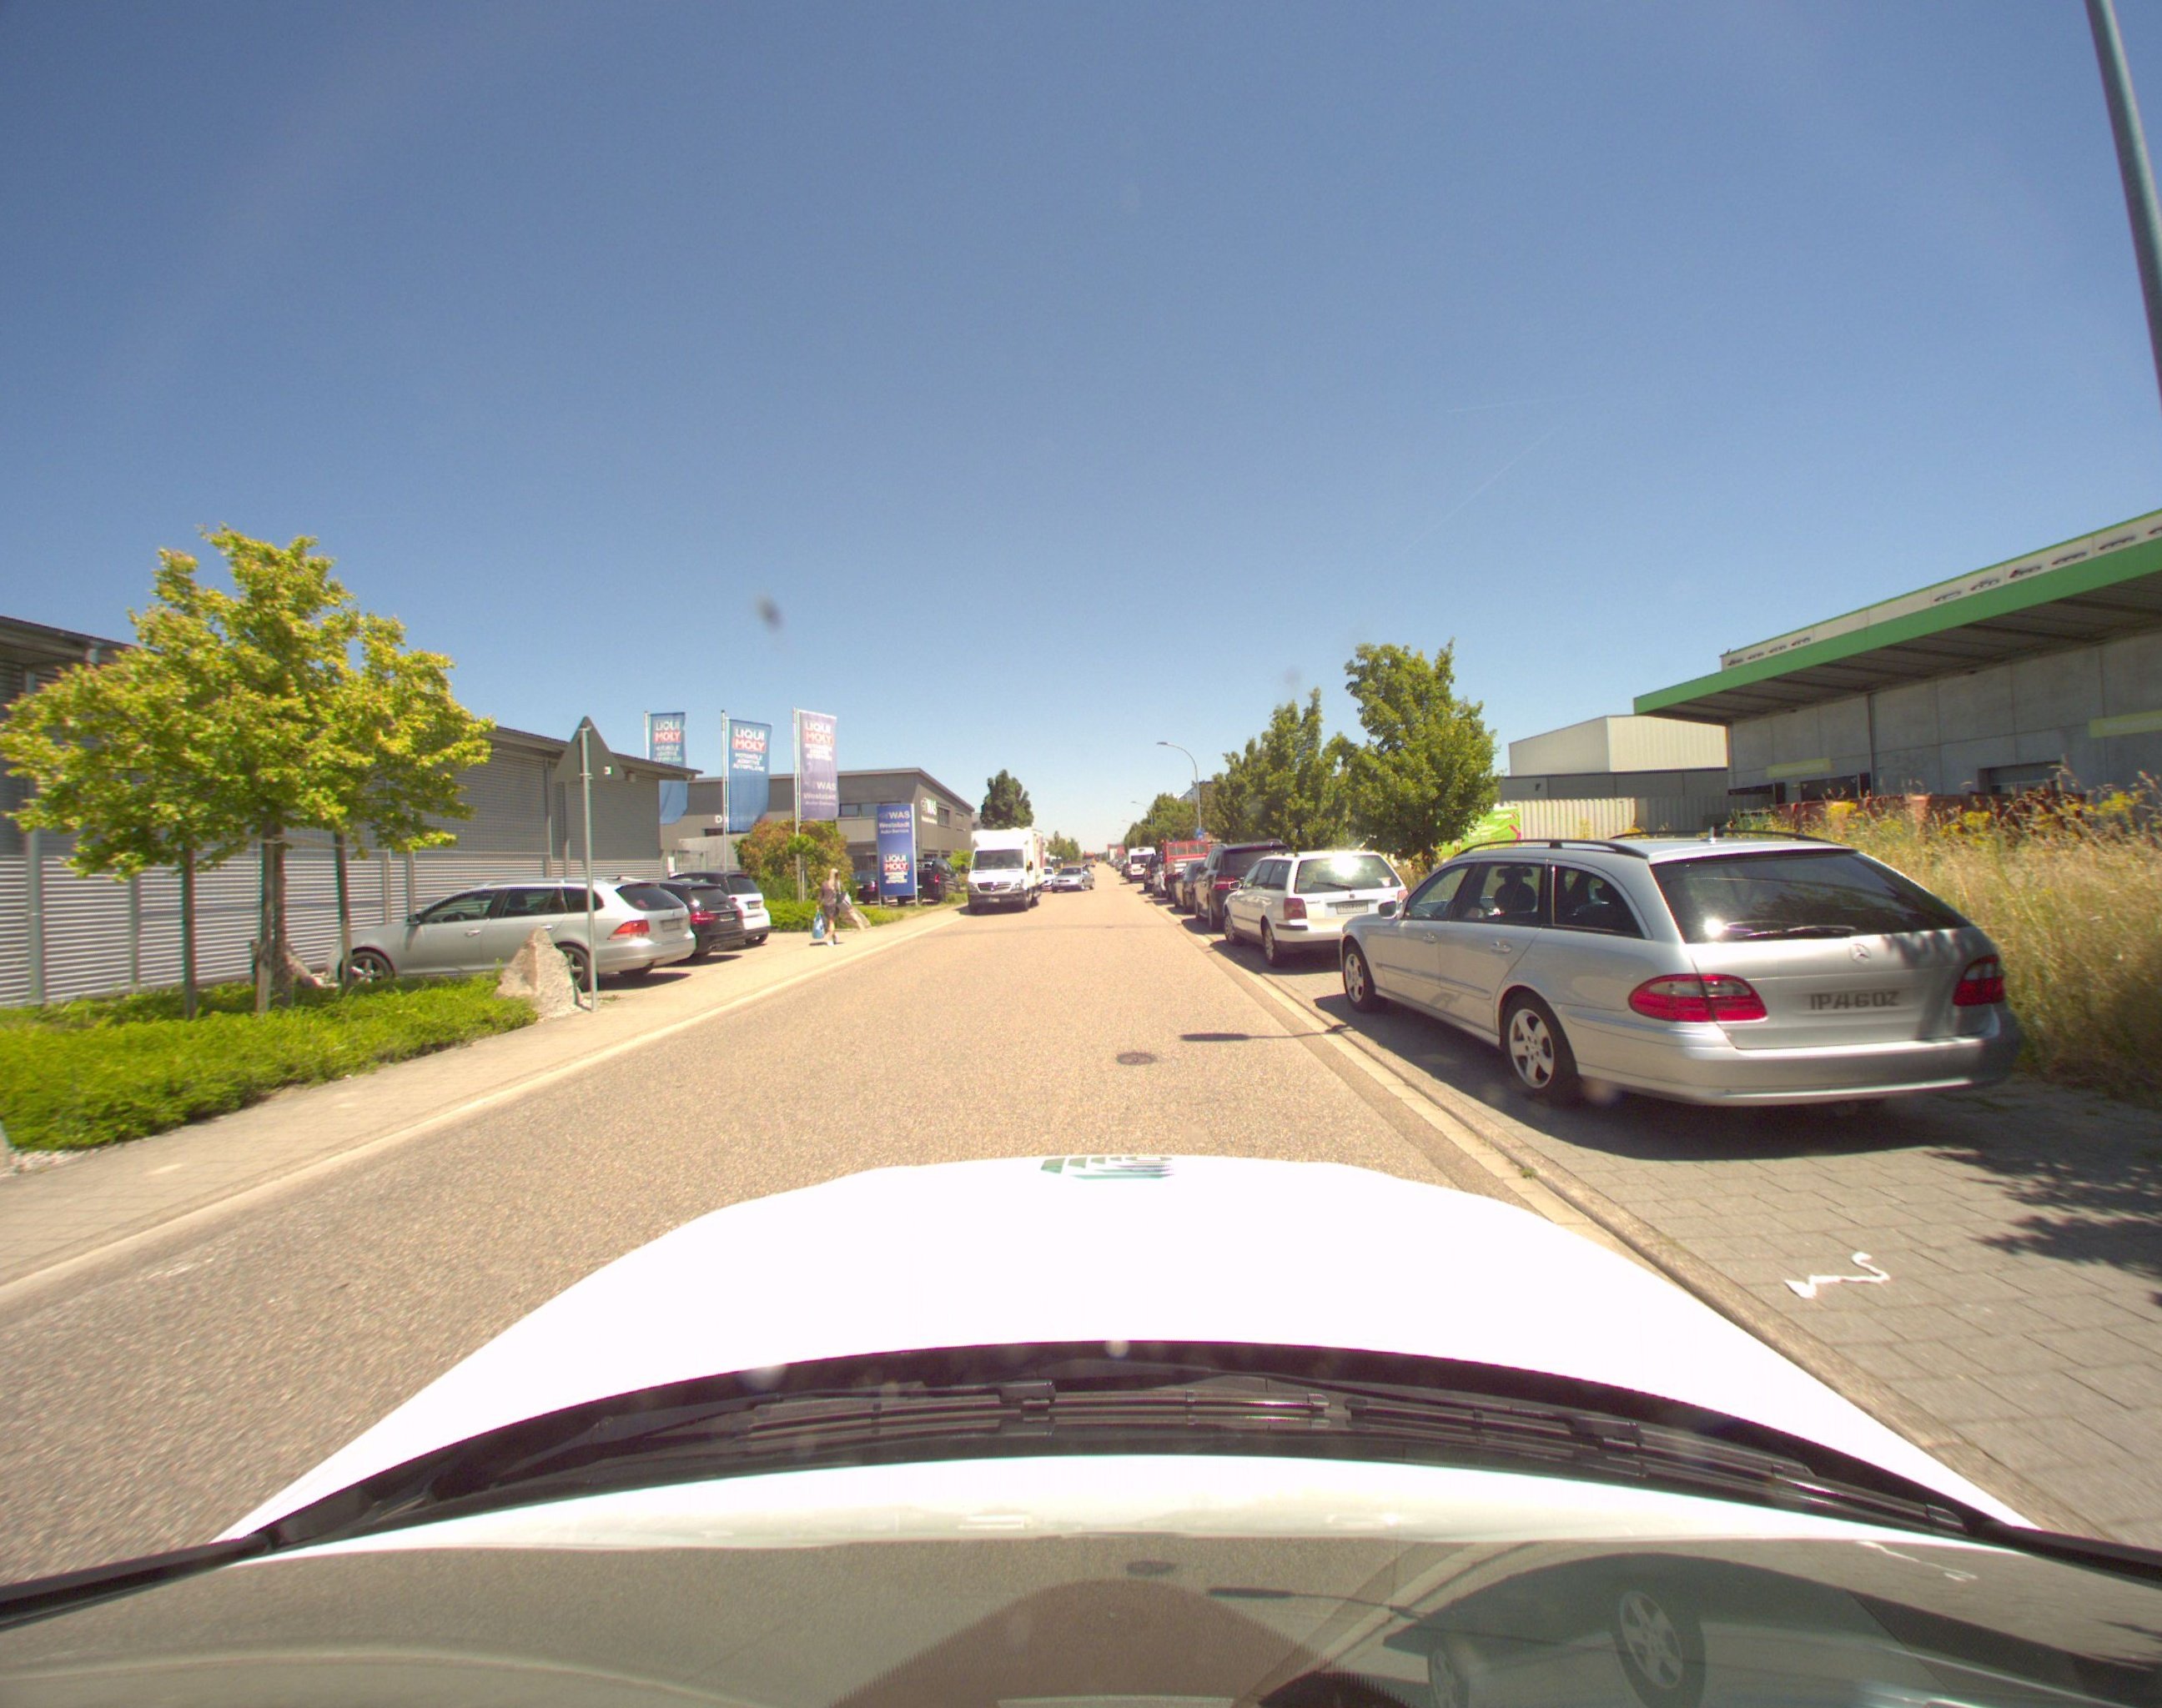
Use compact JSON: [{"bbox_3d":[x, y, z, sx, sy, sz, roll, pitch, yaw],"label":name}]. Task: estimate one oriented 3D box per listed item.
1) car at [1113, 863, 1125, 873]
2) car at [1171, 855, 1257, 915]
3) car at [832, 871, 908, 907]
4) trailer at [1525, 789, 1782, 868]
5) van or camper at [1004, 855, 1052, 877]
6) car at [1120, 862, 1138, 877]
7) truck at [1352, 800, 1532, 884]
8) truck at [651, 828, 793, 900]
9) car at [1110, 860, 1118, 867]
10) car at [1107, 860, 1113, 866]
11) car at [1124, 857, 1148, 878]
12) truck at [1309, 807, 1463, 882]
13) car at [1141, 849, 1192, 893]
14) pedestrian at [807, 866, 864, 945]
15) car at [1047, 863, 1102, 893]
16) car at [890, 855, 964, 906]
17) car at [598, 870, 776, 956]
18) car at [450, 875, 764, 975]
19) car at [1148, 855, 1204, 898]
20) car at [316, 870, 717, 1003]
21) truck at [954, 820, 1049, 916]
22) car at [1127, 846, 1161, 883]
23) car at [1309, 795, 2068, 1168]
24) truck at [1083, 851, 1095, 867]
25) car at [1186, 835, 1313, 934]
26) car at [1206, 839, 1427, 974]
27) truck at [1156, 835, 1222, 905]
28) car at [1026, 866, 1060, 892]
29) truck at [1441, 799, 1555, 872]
[{"bbox_3d":[5.894,2.103,126.824,1.712,1.450,3.647,-3,-1,1],"label":"car"},{"bbox_3d":[3.613,0.817,22.986,1.691,1.383,4.839,-4,-1,2],"label":"car"},{"bbox_3d":[-9.082,1.467,35.443,1.924,1.416,4.770,-1,-1,1],"label":"car"},{"bbox_3d":[32.902,-1.416,47.152,12.572,3.876,2.805,-3,-2,1],"label":"trailer"},{"bbox_3d":[-8.360,1.906,129.111,7.360,3.037,2.790,-3,-1,0],"label":"van or camper"},{"bbox_3d":[5.318,1.681,89.965,1.700,1.504,4.714,-3,-1,6],"label":"car"},{"bbox_3d":[13.955,-0.452,31.763,5.887,2.872,2.305,-3,-1,-2],"label":"truck"},{"bbox_3d":[-19.103,0.595,43.177,7.960,3.557,2.603,-2,-1,30],"label":"truck"},{"bbox_3d":[6.986,2.006,174.027,1.579,1.409,3.501,-3,-1,1],"label":"car"},{"bbox_3d":[8.461,2.635,238.842,1.490,1.409,3.501,-3,-1,1],"label":"car"},{"bbox_3d":[5.215,1.291,77.758,1.986,1.825,4.354,-3,-1,1],"label":"car"},{"bbox_3d":[13.436,-0.378,36.151,5.802,2.913,2.414,-3,-1,0],"label":"truck"},{"bbox_3d":[4.068,0.814,39.601,1.986,1.884,5.157,-4,-1,2],"label":"car"},{"bbox_3d":[-5.035,1.037,16.738,0.895,1.574,0.786,-1,-1,2],"label":"pedestrian"},{"bbox_3d":[-0.311,1.328,46.295,1.769,1.422,4.433,-5,-1,16],"label":"car"},{"bbox_3d":[-6.467,1.087,34.795,1.986,1.956,5.219,-2,-1,1],"label":"car"},{"bbox_3d":[-7.788,1.139,16.257,2.732,1.518,1.535,-2,-1,0],"label":"car"},{"bbox_3d":[-8.013,1.170,14.043,4.292,1.431,1.847,-2,-1,2],"label":"car"},{"bbox_3d":[3.828,0.888,33.369,1.733,1.530,3.999,-4,-1,0],"label":"car"},{"bbox_3d":[-7.678,1.083,11.415,4.248,1.518,1.866,-2,-1,0],"label":"car"},{"bbox_3d":[-2.644,0.504,29.039,2.353,2.860,6.417,-5,-1,2],"label":"truck"},{"bbox_3d":[4.619,0.801,60.634,2.258,2.497,6.157,-3,-1,3],"label":"car"},{"bbox_3d":[3.334,0.563,5.935,1.800,1.483,4.770,-4,0,-2],"label":"car"},{"bbox_3d":[1.886,1.177,193.352,2.440,3.513,8.274,-4,0,1],"label":"truck"},{"bbox_3d":[3.477,0.583,17.693,1.804,1.725,4.776,-4,0,2],"label":"car"},{"bbox_3d":[3.194,0.643,12.133,1.709,1.483,4.770,-4,0,-2],"label":"car"},{"bbox_3d":[3.748,0.545,28.907,1.673,2.181,4.390,-4,-1,1],"label":"truck"},{"bbox_3d":[-2.313,1.527,50.277,1.723,1.458,4.492,-2,-1,1],"label":"car"},{"bbox_3d":[24.117,-1.026,47.323,5.044,3.876,2.805,-3,-2,1],"label":"truck"}]
